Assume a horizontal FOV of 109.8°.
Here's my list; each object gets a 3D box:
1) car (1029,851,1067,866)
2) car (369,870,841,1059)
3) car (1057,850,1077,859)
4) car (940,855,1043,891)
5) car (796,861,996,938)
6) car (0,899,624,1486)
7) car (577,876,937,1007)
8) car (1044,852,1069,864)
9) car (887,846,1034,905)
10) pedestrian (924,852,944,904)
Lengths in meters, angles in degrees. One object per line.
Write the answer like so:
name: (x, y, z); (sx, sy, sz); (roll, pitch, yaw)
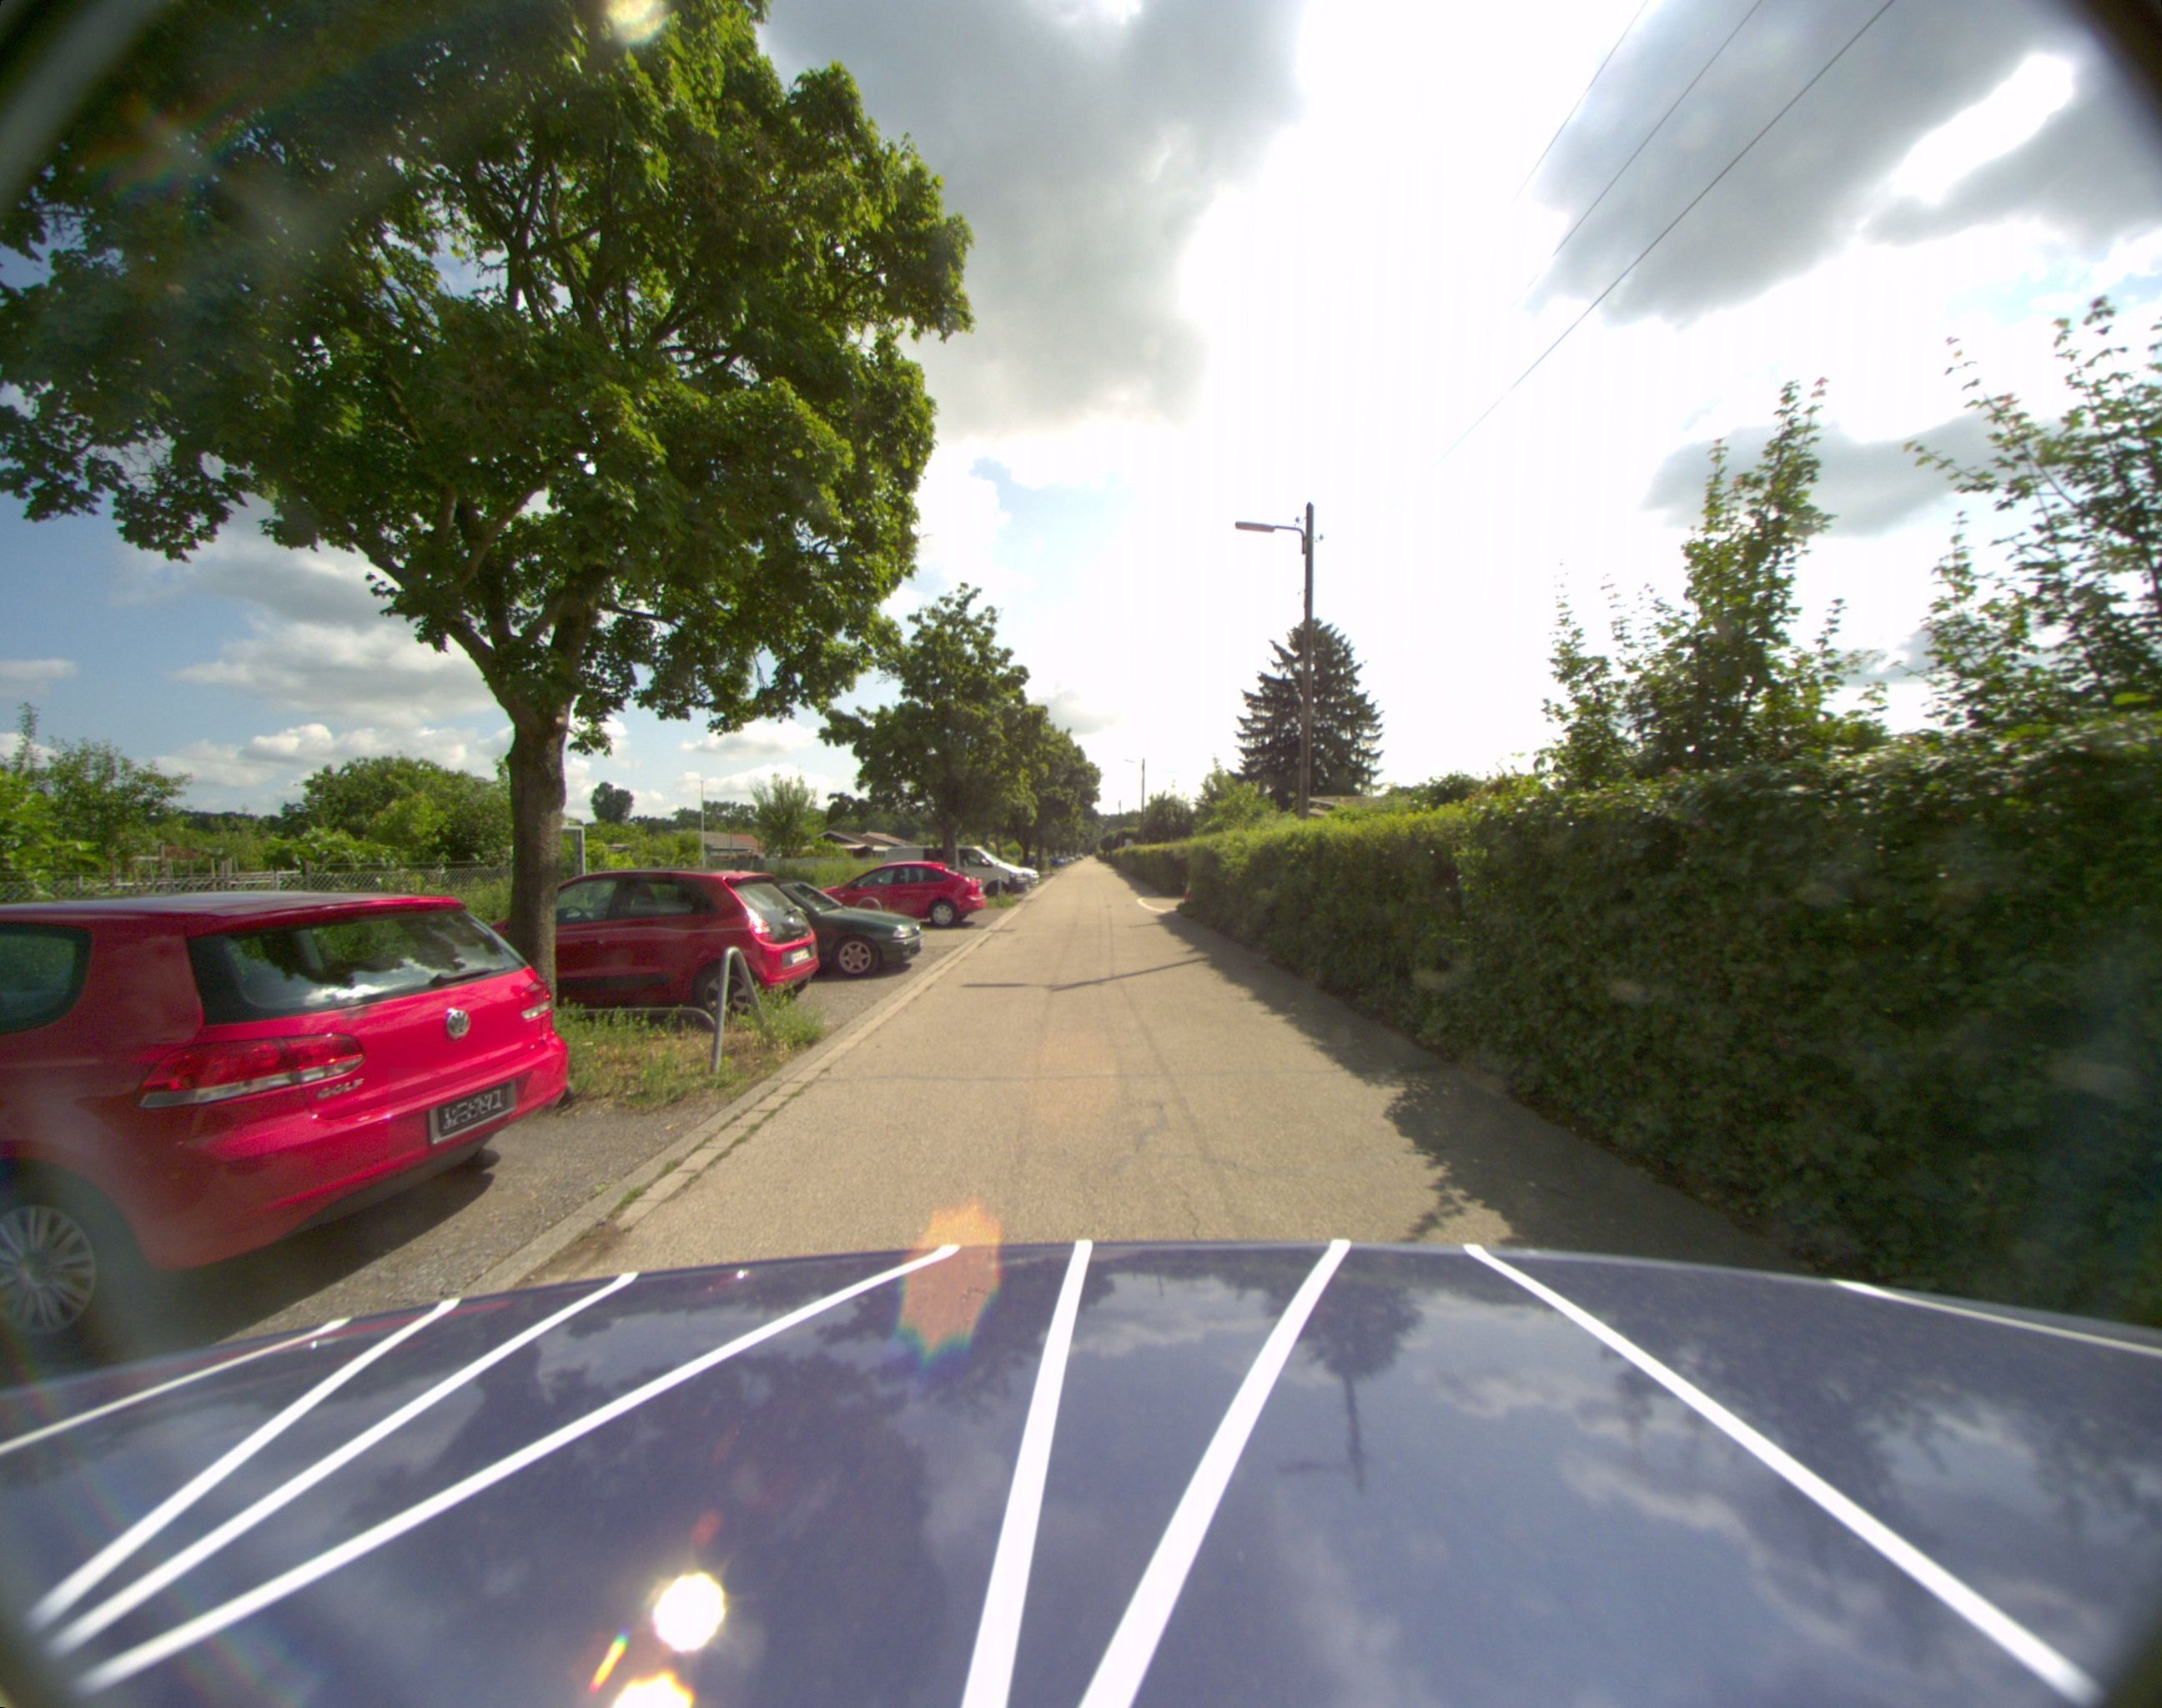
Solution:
car: (-3.668, 0.534, 84.030); (4.116, 1.573, 1.781); (-1, 0, -1)
car: (-4.794, 1.067, 8.115); (3.773, 1.565, 1.869); (-3, 1, 0)
car: (-2.844, 0.081, 152.733); (3.929, 1.740, 2.000); (-3, 1, 0)
car: (-4.081, 0.866, 35.403); (4.590, 1.457, 1.999); (-2, 0, -2)
car: (-4.286, 1.039, 18.055); (4.193, 1.495, 1.878); (-3, 1, 2)
car: (-4.490, 1.095, 3.185); (3.996, 1.511, 1.854); (-3, 1, 4)
car: (-4.365, 1.157, 10.835); (4.250, 1.420, 1.907); (-3, 1, -3)
car: (-3.998, 0.579, 124.139); (3.929, 1.740, 2.000); (-3, 1, 0)
car: (-3.970, 0.684, 25.696); (4.646, 1.875, 2.111); (0, 0, -1)
pedestrian: (-4.748, 0.776, 24.518); (0.524, 1.664, 0.474); (0, 2, 1)
